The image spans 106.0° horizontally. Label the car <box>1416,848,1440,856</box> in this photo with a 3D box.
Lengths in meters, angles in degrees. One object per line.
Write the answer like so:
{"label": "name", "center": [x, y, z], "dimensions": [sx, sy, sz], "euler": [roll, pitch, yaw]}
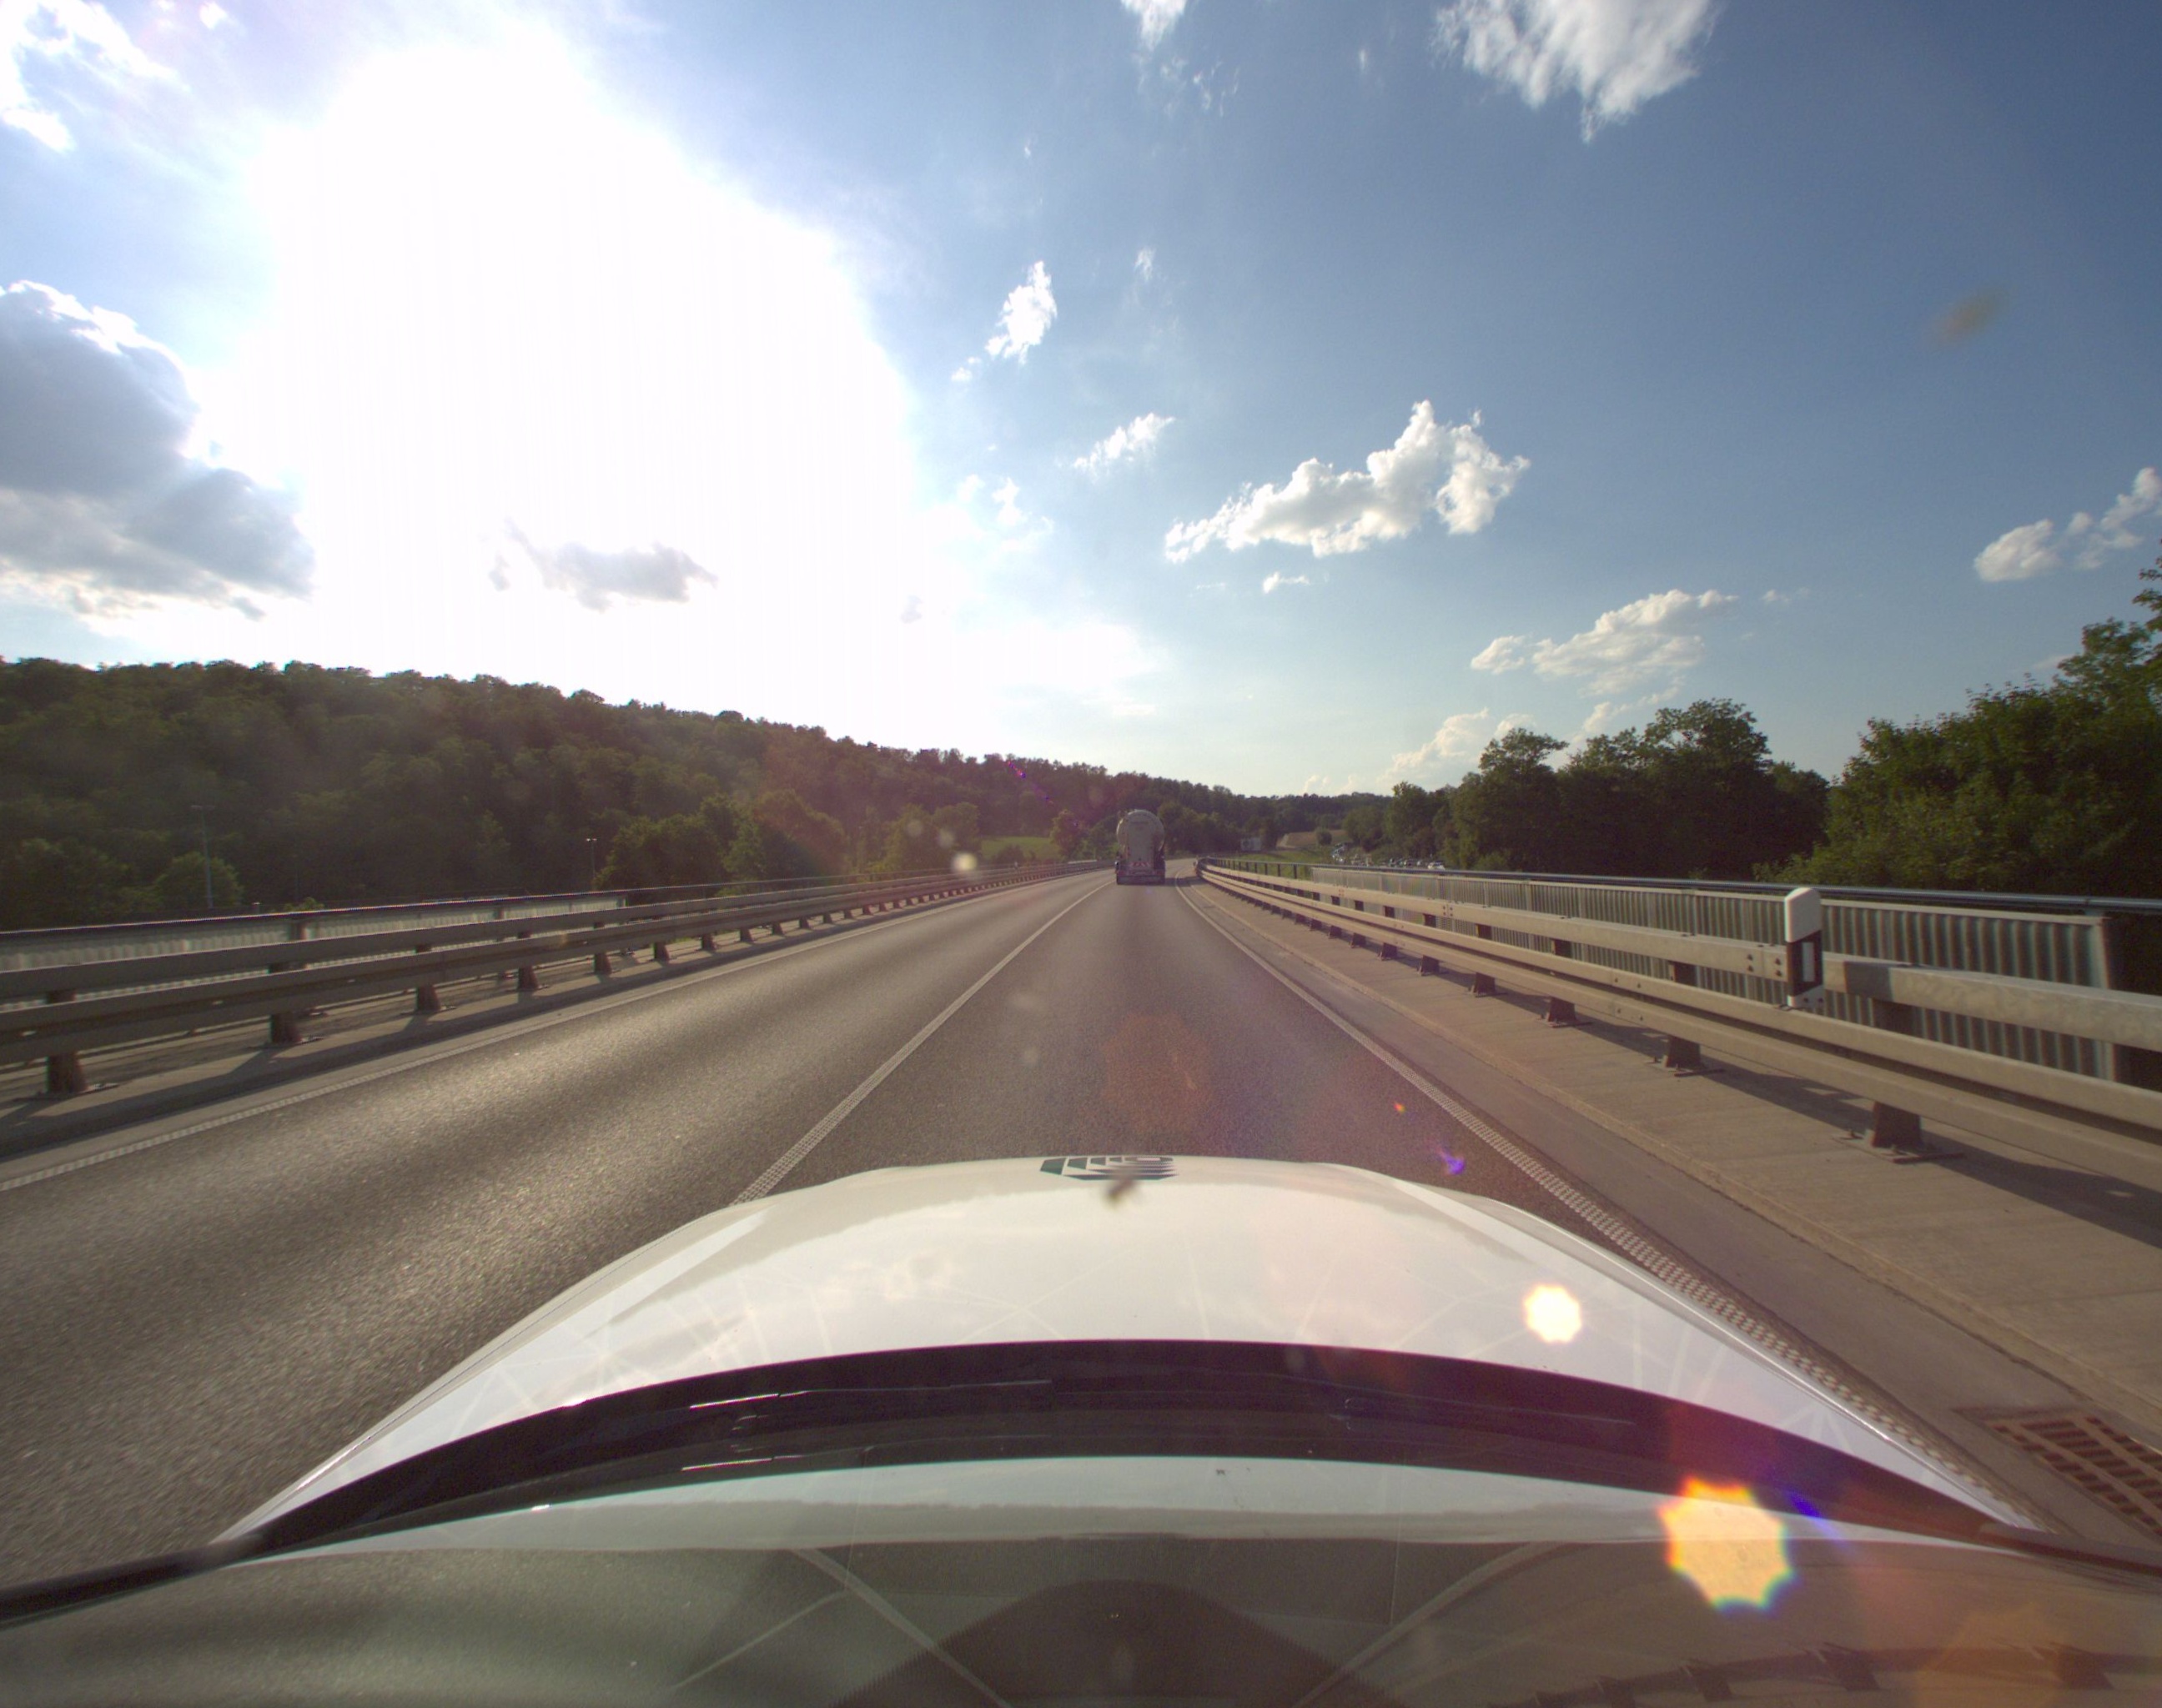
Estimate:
{"label": "car", "center": [74.880, -0.421, 175.748], "dimensions": [4.392, 1.455, 1.733], "euler": [-2, 2, -4]}

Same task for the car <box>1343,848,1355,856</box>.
{"label": "car", "center": [66.455, -0.481, 202.006], "dimensions": [1.882, 1.482, 4.792], "euler": [-5, 2, 6]}

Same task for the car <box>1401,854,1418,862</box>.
{"label": "car", "center": [61.123, 0.730, 151.578], "dimensions": [1.647, 1.496, 4.228], "euler": [-2, 0, 4]}

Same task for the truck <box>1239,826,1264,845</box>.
{"label": "truck", "center": [41.733, -4.498, 198.967], "dimensions": [3.155, 4.227, 13.249], "euler": [-2, 2, 24]}

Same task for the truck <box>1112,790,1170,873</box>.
{"label": "truck", "center": [3.543, -1.200, 47.535], "dimensions": [2.879, 4.142, 13.189], "euler": [-1, 1, 5]}
